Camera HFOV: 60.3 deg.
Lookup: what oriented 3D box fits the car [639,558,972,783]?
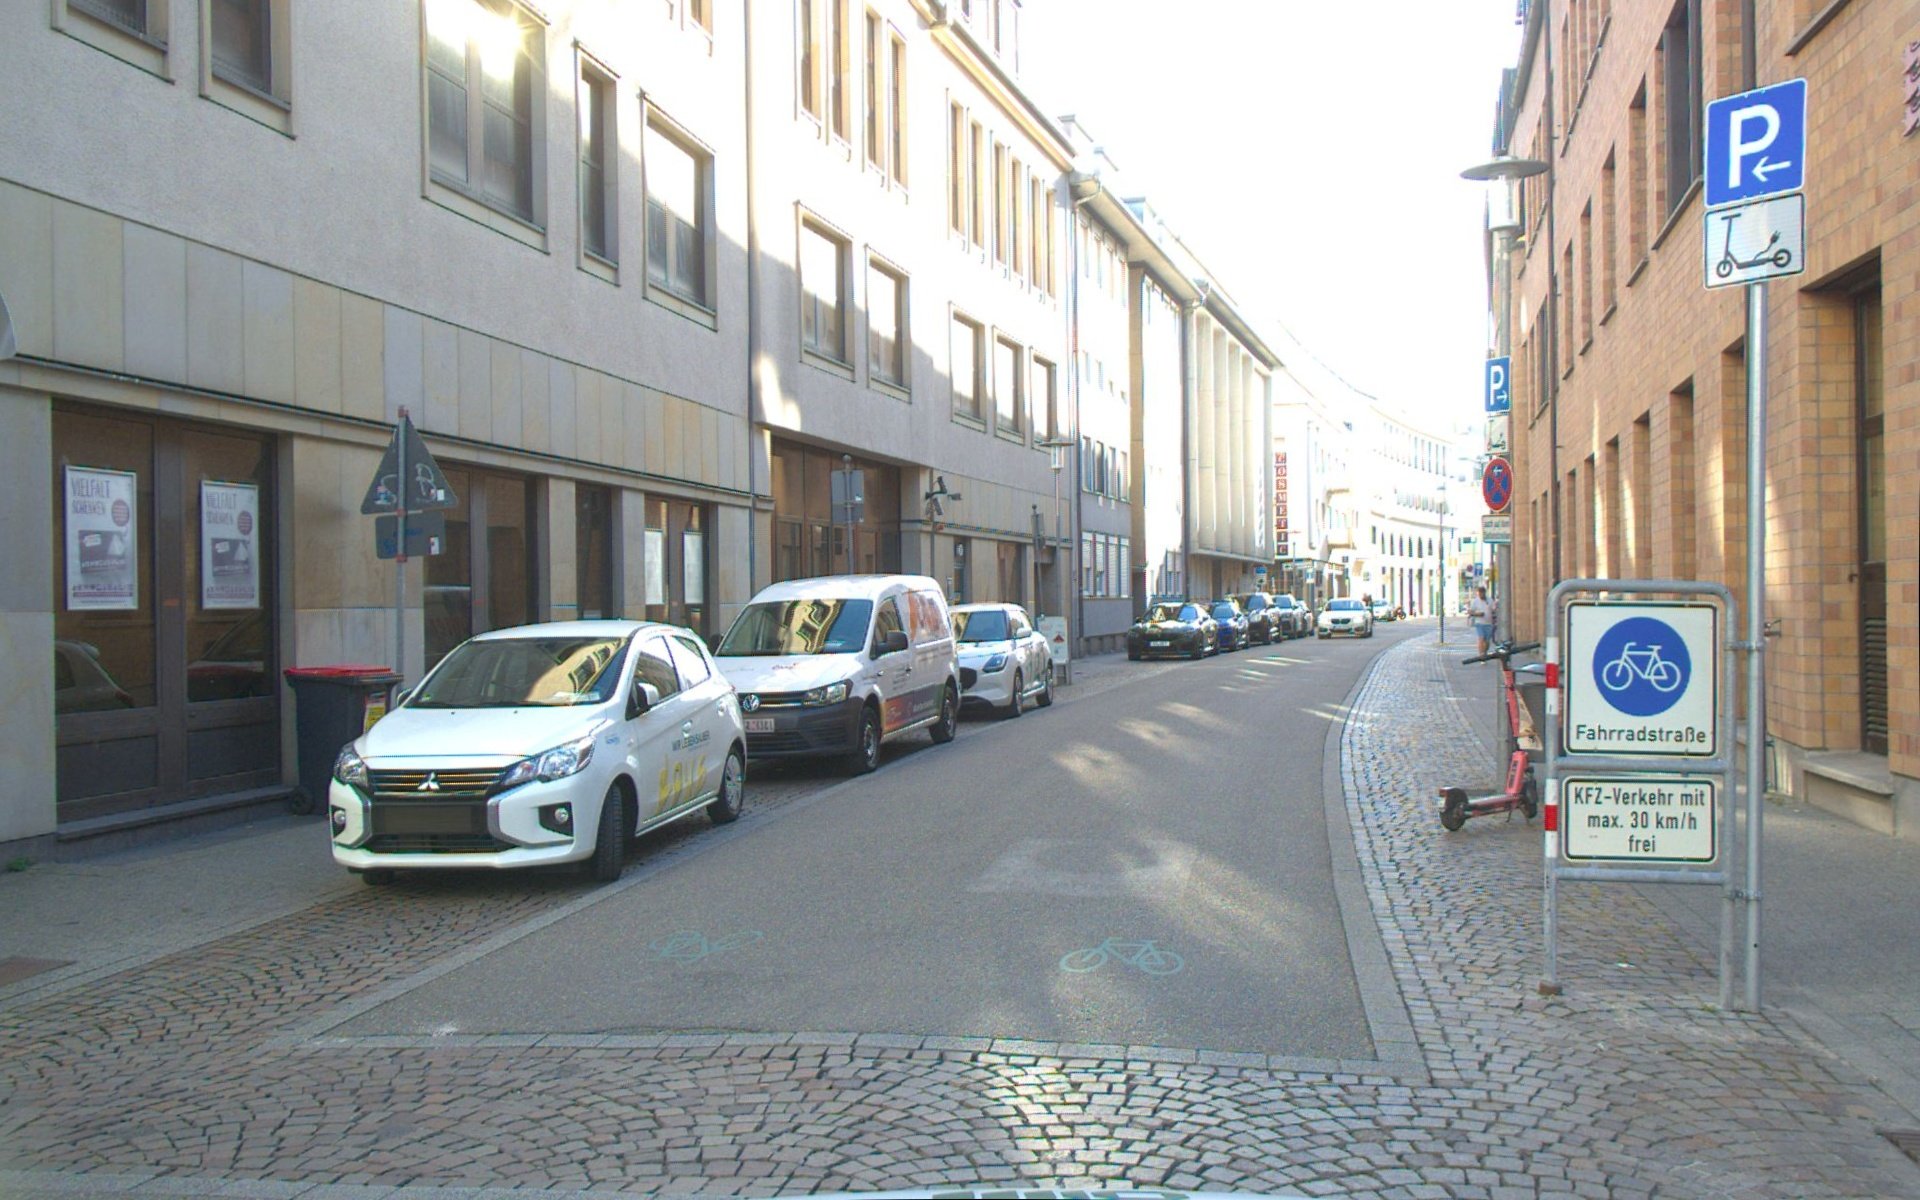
[{"bbox_3d":[-1.342,0.609,16.620,1.859,1.890,4.738,-2,0,13],"label":"car"}]

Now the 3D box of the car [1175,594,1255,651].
[{"bbox_3d":[7.602,0.634,49.039,1.850,1.557,4.343,-1,0,15],"label":"car"}]

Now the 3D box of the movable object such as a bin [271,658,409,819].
[{"bbox_3d":[-4.552,1.001,12.167,0.721,1.120,0.591,1,0,10],"label":"movable object such as a bin"}]

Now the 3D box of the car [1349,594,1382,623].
[{"bbox_3d":[22.236,0.448,90.601,1.604,1.544,4.163,-1,0,15],"label":"car"}]

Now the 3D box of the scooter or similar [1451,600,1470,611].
[{"bbox_3d":[43.955,0.496,145.165,2.208,0.944,0.519,0,0,-42],"label":"scooter or similar"}]

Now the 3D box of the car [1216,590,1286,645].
[{"bbox_3d":[9.682,0.545,54.763,1.850,1.705,4.557,-1,0,15],"label":"car"}]

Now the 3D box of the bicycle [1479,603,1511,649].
[{"bbox_3d":[13.814,0.661,42.743,0.538,1.122,1.984,-4,-1,13],"label":"bicycle"}]

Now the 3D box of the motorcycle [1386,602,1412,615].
[{"bbox_3d":[29.624,0.577,111.618,1.657,0.874,0.594,1,0,24],"label":"motorcycle"}]

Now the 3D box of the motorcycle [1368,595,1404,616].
[{"bbox_3d":[29.835,0.388,115.807,2.341,1.340,0.862,-2,-1,19],"label":"motorcycle"}]

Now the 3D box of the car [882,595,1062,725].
[{"bbox_3d":[0.258,0.762,22.755,1.634,1.548,3.779,-3,0,13],"label":"car"}]

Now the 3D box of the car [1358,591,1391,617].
[{"bbox_3d":[26.297,0.254,104.929,1.700,1.634,3.534,0,0,19],"label":"car"}]

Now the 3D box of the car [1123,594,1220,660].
[{"bbox_3d":[5.566,0.659,43.009,1.850,1.557,4.732,-1,0,15],"label":"car"}]

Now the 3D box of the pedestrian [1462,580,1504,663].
[{"bbox_3d":[11.309,0.455,35.791,0.744,1.746,0.822,-3,-1,15],"label":"pedestrian"}]

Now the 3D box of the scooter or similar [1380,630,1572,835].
[{"bbox_3d":[3.483,0.854,11.129,1.404,1.257,0.531,-1,1,-38],"label":"scooter or similar"}]

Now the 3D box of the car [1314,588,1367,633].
[{"bbox_3d":[13.874,0.355,60.201,1.678,1.544,4.163,-1,0,15],"label":"car"}]

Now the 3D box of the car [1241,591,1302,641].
[{"bbox_3d":[11.641,0.578,61.675,1.850,1.772,4.394,-1,0,15],"label":"car"}]

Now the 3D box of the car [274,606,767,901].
[{"bbox_3d":[-2.615,0.846,10.818,1.700,1.518,3.803,-2,0,8],"label":"car"}]
